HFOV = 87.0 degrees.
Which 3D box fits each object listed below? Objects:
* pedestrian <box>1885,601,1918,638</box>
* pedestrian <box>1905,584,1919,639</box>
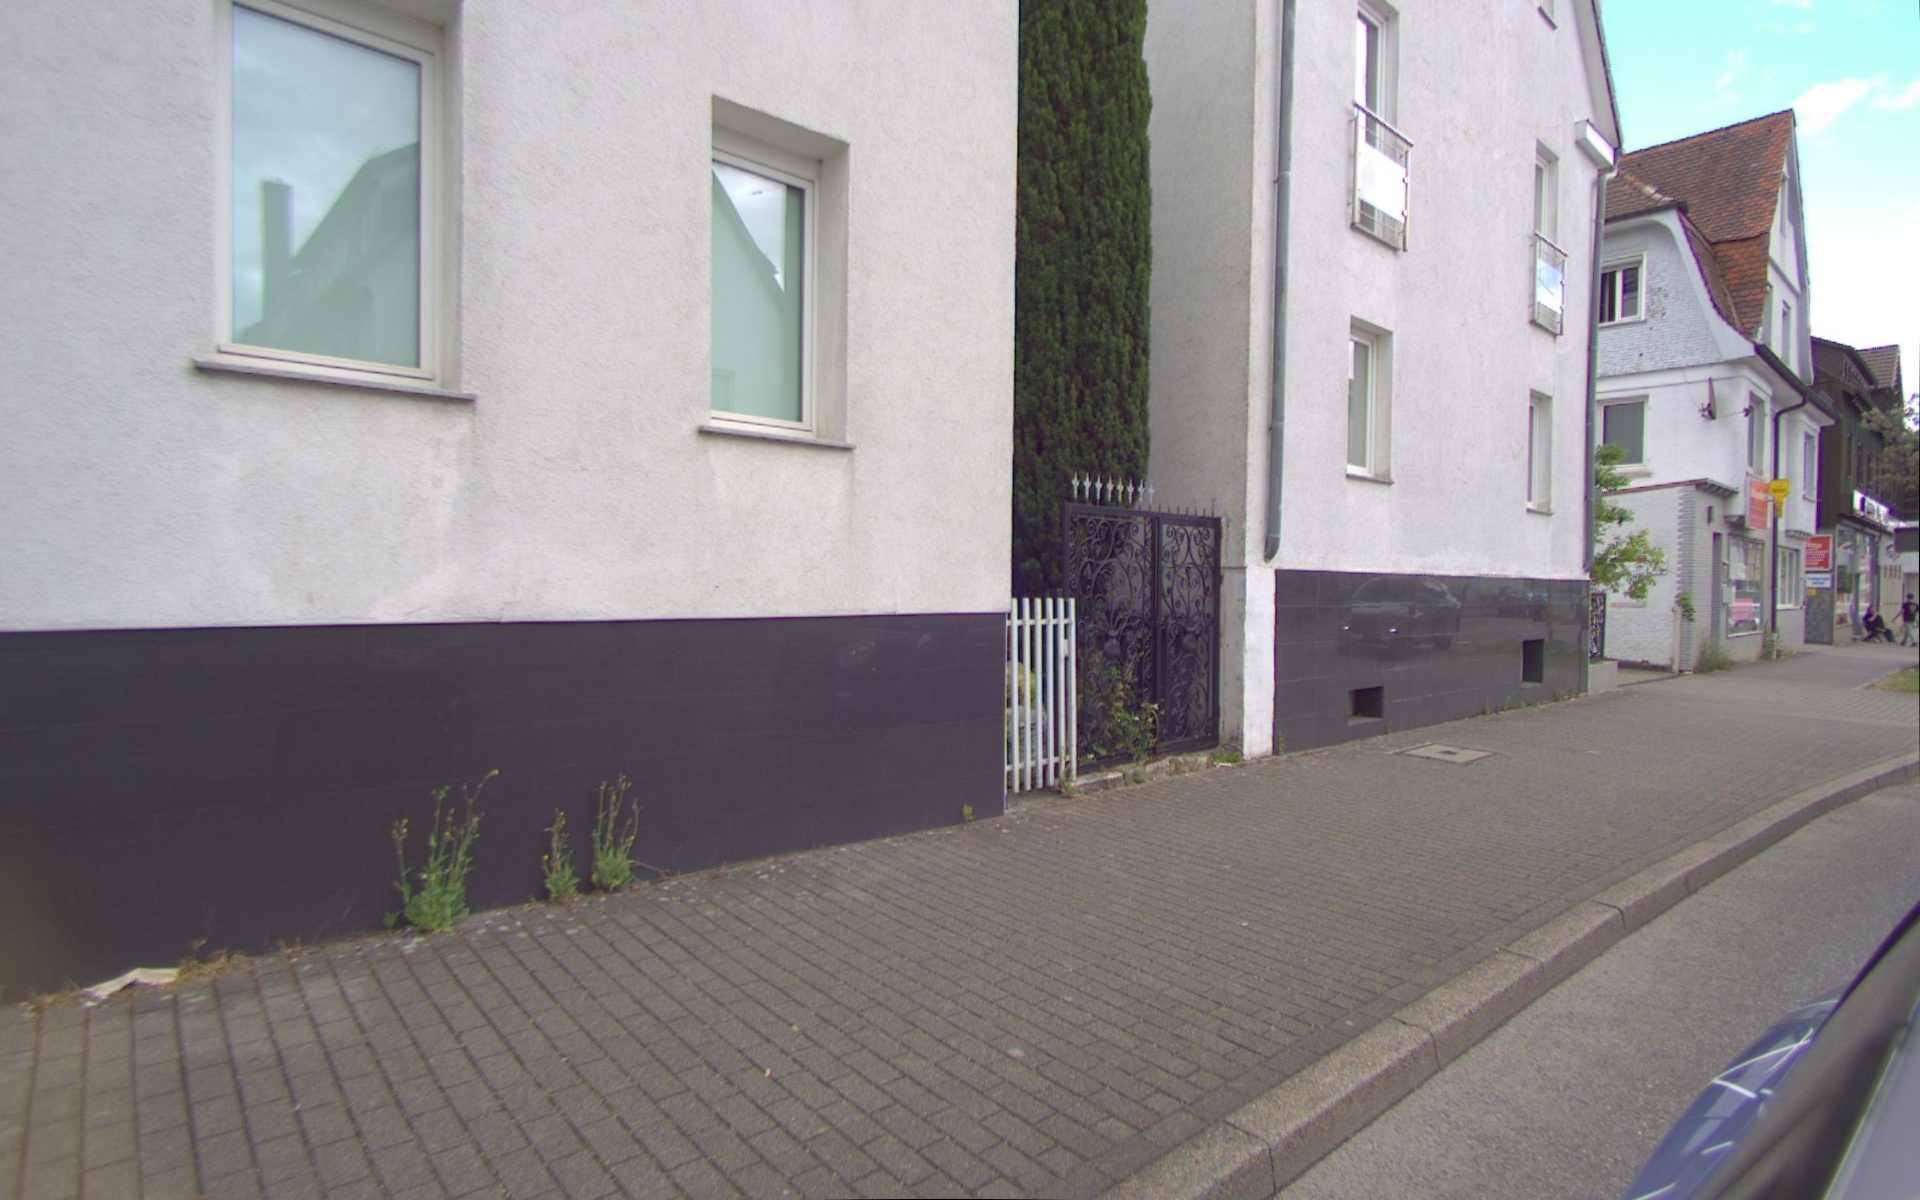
[{"bbox_3d":[32.329,0.656,34.737,0.633,1.226,0.741,0,2,-42],"label":"pedestrian"},{"bbox_3d":[31.548,0.372,33.272,0.642,1.762,0.731,3,2,43],"label":"pedestrian"}]
